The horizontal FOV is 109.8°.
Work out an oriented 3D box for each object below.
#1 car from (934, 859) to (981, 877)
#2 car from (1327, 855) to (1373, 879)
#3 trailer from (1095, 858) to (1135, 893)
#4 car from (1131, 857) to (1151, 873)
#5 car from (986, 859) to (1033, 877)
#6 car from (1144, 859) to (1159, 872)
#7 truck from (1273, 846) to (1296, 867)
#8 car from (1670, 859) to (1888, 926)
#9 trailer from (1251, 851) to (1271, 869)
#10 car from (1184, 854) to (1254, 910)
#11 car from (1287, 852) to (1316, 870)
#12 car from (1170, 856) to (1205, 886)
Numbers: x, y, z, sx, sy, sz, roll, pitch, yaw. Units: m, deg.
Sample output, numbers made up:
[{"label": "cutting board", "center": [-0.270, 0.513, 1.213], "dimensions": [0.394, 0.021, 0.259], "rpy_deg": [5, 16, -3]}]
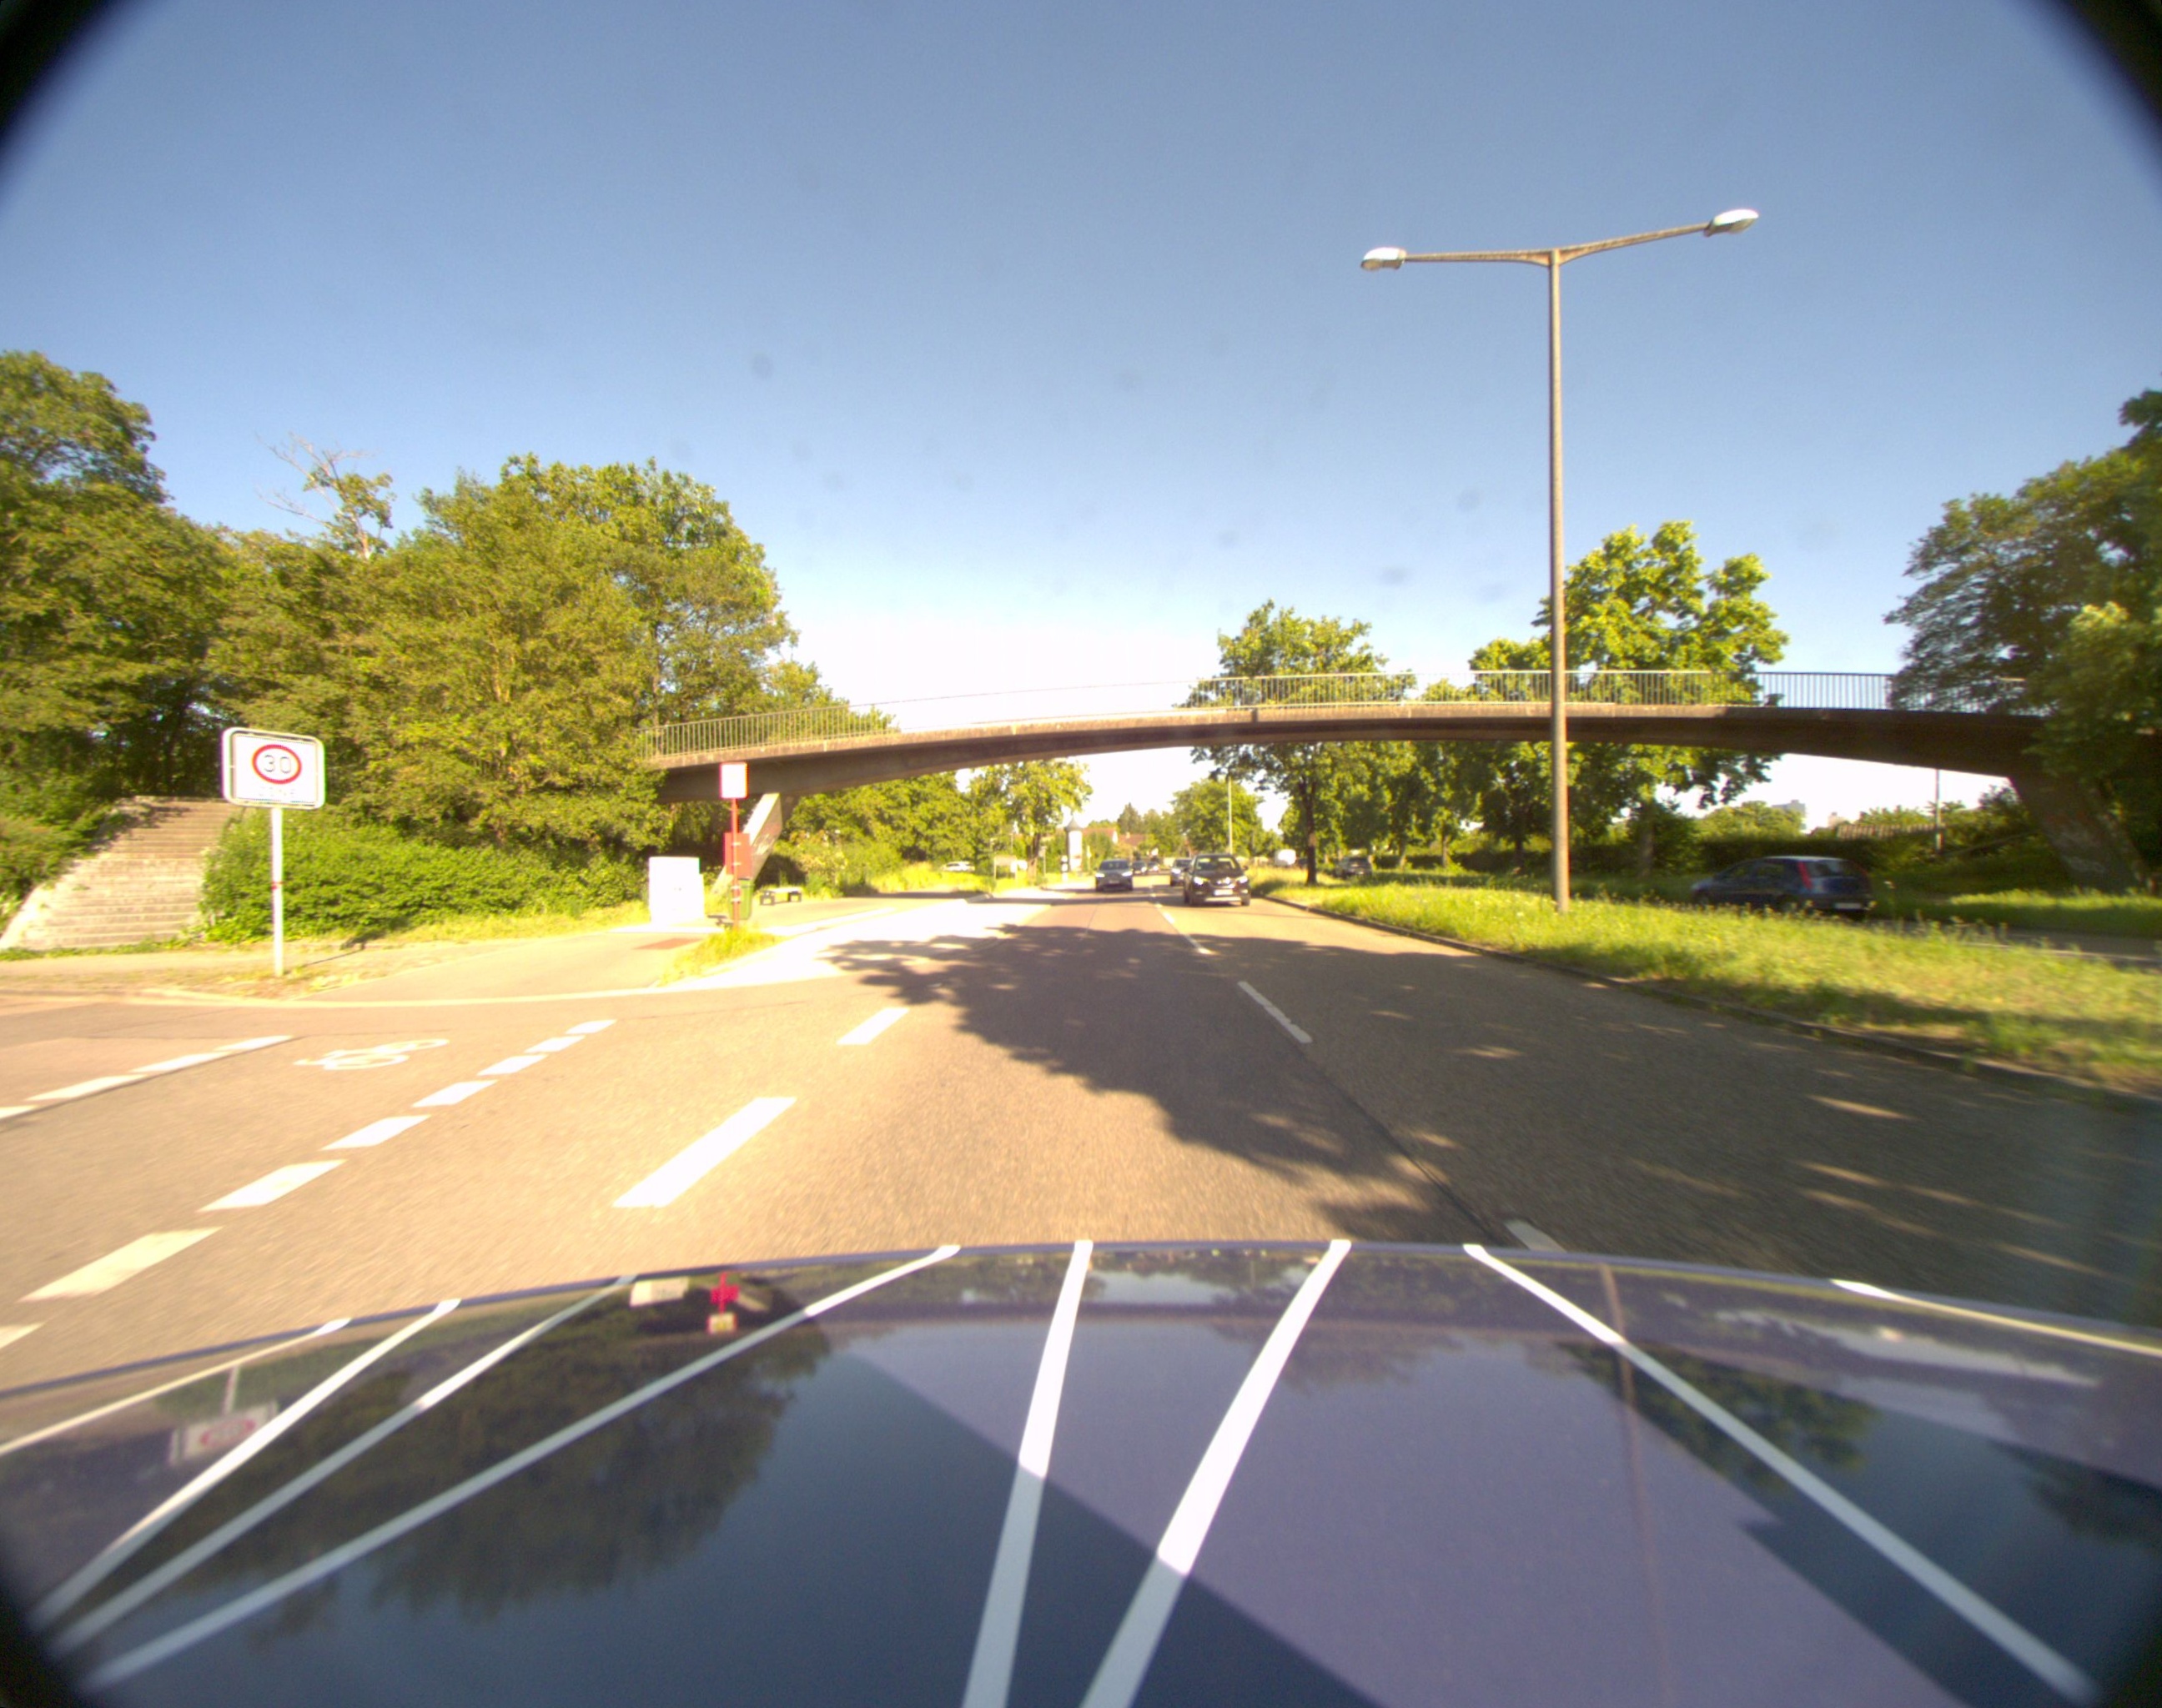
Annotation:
[{"label": "car", "center": [-13.369, 1.562, 82.471], "dimensions": [4.524, 1.857, 2.074], "rpy_deg": [-1, -2, 11]}, {"label": "car", "center": [18.976, 0.888, 53.786], "dimensions": [1.735, 1.636, 4.902], "rpy_deg": [1, 0, 3]}, {"label": "trailer", "center": [1.710, 1.048, 38.696], "dimensions": [1.897, 1.585, 4.000], "rpy_deg": [-2, 0, 2]}, {"label": "car", "center": [6.053, 1.098, 76.526], "dimensions": [1.823, 1.553, 4.274], "rpy_deg": [-1, 0, 6]}, {"label": "car", "center": [-7.669, 1.513, 81.490], "dimensions": [4.638, 1.790, 1.935], "rpy_deg": [-1, -2, 11]}, {"label": "car", "center": [9.230, 1.430, 99.160], "dimensions": [1.822, 1.587, 4.275], "rpy_deg": [-2, -1, 7]}, {"label": "truck", "center": [24.953, 0.334, 93.249], "dimensions": [2.176, 2.498, 5.747], "rpy_deg": [1, 0, 11]}, {"label": "car", "center": [16.769, 0.849, 18.585], "dimensions": [1.543, 1.422, 4.256], "rpy_deg": [0, 0, 2]}, {"label": "trailer", "center": [20.039, 0.710, 84.706], "dimensions": [1.566, 1.899, 4.284], "rpy_deg": [-1, 0, 4]}, {"label": "car", "center": [4.326, 0.817, 24.440], "dimensions": [1.810, 1.605, 4.516], "rpy_deg": [-1, 0, 5]}, {"label": "car", "center": [21.254, 0.671, 73.385], "dimensions": [1.753, 1.610, 4.580], "rpy_deg": [-1, 0, 4]}, {"label": "car", "center": [6.037, 0.925, 42.899], "dimensions": [1.822, 1.553, 4.650], "rpy_deg": [-2, -1, 9]}]
